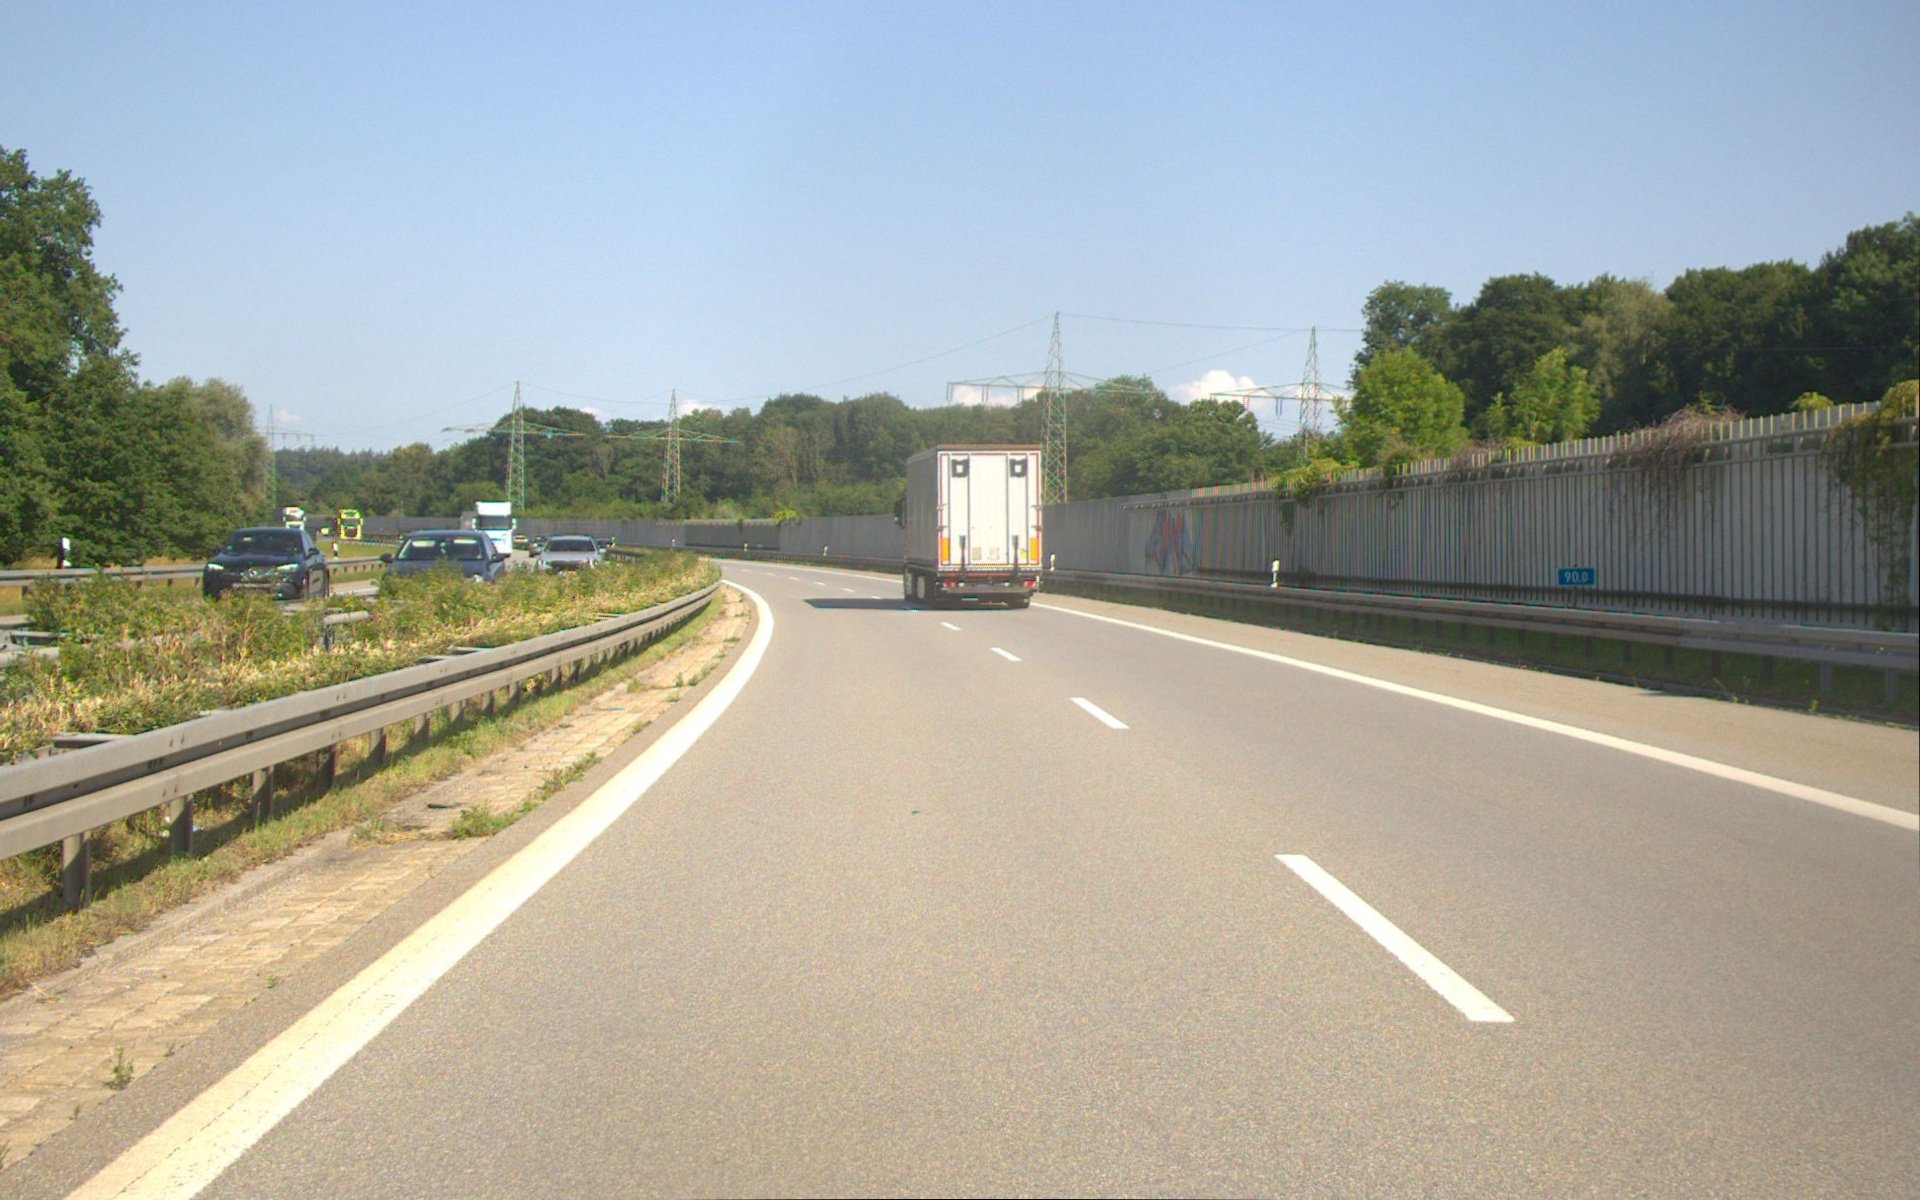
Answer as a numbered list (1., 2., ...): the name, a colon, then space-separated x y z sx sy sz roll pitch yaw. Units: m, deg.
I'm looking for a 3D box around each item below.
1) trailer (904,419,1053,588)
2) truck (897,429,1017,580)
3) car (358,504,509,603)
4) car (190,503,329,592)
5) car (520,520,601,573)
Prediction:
1. trailer: 0.349 -2.436 89.462 2.884 4.052 12.422 0 1 -4
2. truck: -0.141 -2.603 95.261 2.830 3.998 6.588 0 1 -4
3. car: -8.172 -0.725 53.641 1.853 1.477 4.000 0 1 -2
4. car: -13.387 -1.007 65.903 1.853 1.628 4.494 0 1 -2
5. car: -11.587 -1.563 99.885 1.931 1.500 4.794 0 1 -2
